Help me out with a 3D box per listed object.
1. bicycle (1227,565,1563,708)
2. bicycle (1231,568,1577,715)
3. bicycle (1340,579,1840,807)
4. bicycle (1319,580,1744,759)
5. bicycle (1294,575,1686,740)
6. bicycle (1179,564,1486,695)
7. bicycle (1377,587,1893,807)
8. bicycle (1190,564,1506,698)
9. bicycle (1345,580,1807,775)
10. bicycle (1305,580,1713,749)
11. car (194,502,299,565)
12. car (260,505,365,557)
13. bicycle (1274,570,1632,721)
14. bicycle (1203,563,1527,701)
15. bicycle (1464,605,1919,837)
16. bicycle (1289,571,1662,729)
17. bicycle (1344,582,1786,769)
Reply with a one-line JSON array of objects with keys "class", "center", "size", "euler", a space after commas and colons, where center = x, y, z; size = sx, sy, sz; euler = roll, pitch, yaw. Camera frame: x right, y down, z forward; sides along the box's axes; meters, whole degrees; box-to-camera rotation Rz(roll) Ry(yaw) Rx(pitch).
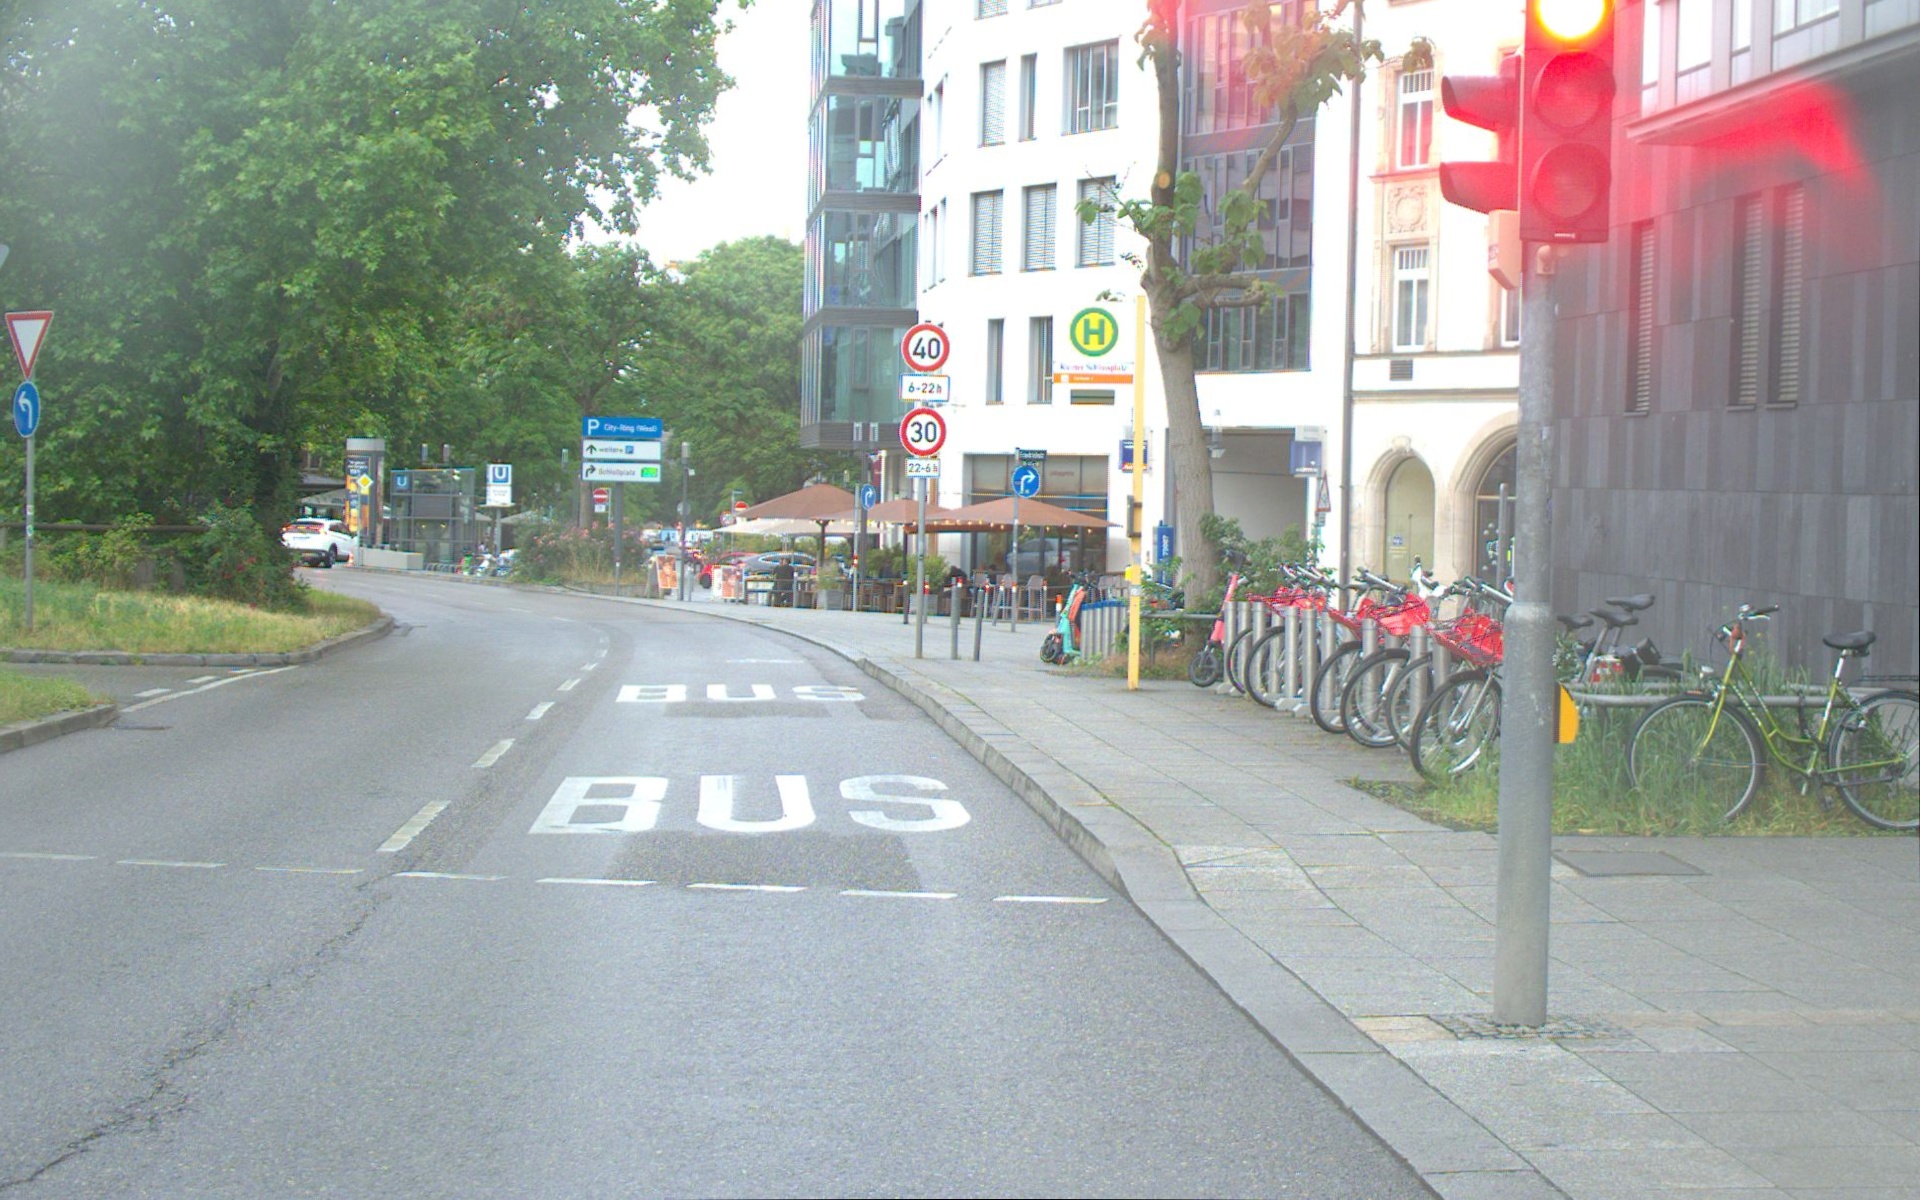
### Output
[{"class": "bicycle", "center": [3.429, 0.285, 27.175], "size": [2.535, 1.083, 0.677], "euler": [1, 1, -5]}, {"class": "bicycle", "center": [3.403, 0.313, 26.423], "size": [2.535, 1.083, 0.677], "euler": [1, 1, -5]}, {"class": "bicycle", "center": [3.417, 0.500, 18.744], "size": [2.535, 1.083, 0.677], "euler": [3, 1, -5]}, {"class": "bicycle", "center": [3.584, 0.430, 21.634], "size": [2.535, 1.083, 0.677], "euler": [1, 1, -5]}, {"class": "bicycle", "center": [3.598, 0.386, 23.409], "size": [2.535, 1.083, 0.677], "euler": [1, 1, -5]}, {"class": "bicycle", "center": [3.194, 0.250, 29.533], "size": [2.535, 1.083, 0.627], "euler": [1, 1, -5]}, {"class": "bicycle", "center": [3.504, 0.501, 17.940], "size": [2.535, 1.083, 0.677], "euler": [1, 1, -5]}, {"class": "bicycle", "center": [3.238, 0.254, 28.811], "size": [2.535, 1.083, 0.677], "euler": [1, 1, -5]}, {"class": "bicycle", "center": [3.562, 0.444, 19.969], "size": [2.535, 1.083, 0.677], "euler": [1, 1, -5]}, {"class": "bicycle", "center": [3.580, 0.417, 22.501], "size": [2.535, 1.056, 0.677], "euler": [1, 1, -5]}, {"class": "car", "center": [-20.596, -1.935, 99.184], "size": [1.993, 1.641, 4.001], "euler": [3, 1, -25]}, {"class": "car", "center": [-22.085, -2.349, 117.361], "size": [2.180, 1.695, 3.998], "euler": [2, 1, 10]}, {"class": "bicycle", "center": [3.653, 0.333, 25.584], "size": [2.535, 1.083, 0.677], "euler": [1, 1, -5]}, {"class": "bicycle", "center": [3.295, 0.256, 28.064], "size": [2.535, 1.083, 0.677], "euler": [1, 1, -5]}, {"class": "bicycle", "center": [3.748, 0.573, 16.464], "size": [2.535, 1.053, 0.677], "euler": [1, 1, -5]}, {"class": "bicycle", "center": [3.676, 0.352, 24.606], "size": [2.535, 1.083, 0.677], "euler": [1, 1, -5]}, {"class": "bicycle", "center": [3.651, 0.450, 20.824], "size": [2.535, 1.083, 0.677], "euler": [1, 1, -5]}]
